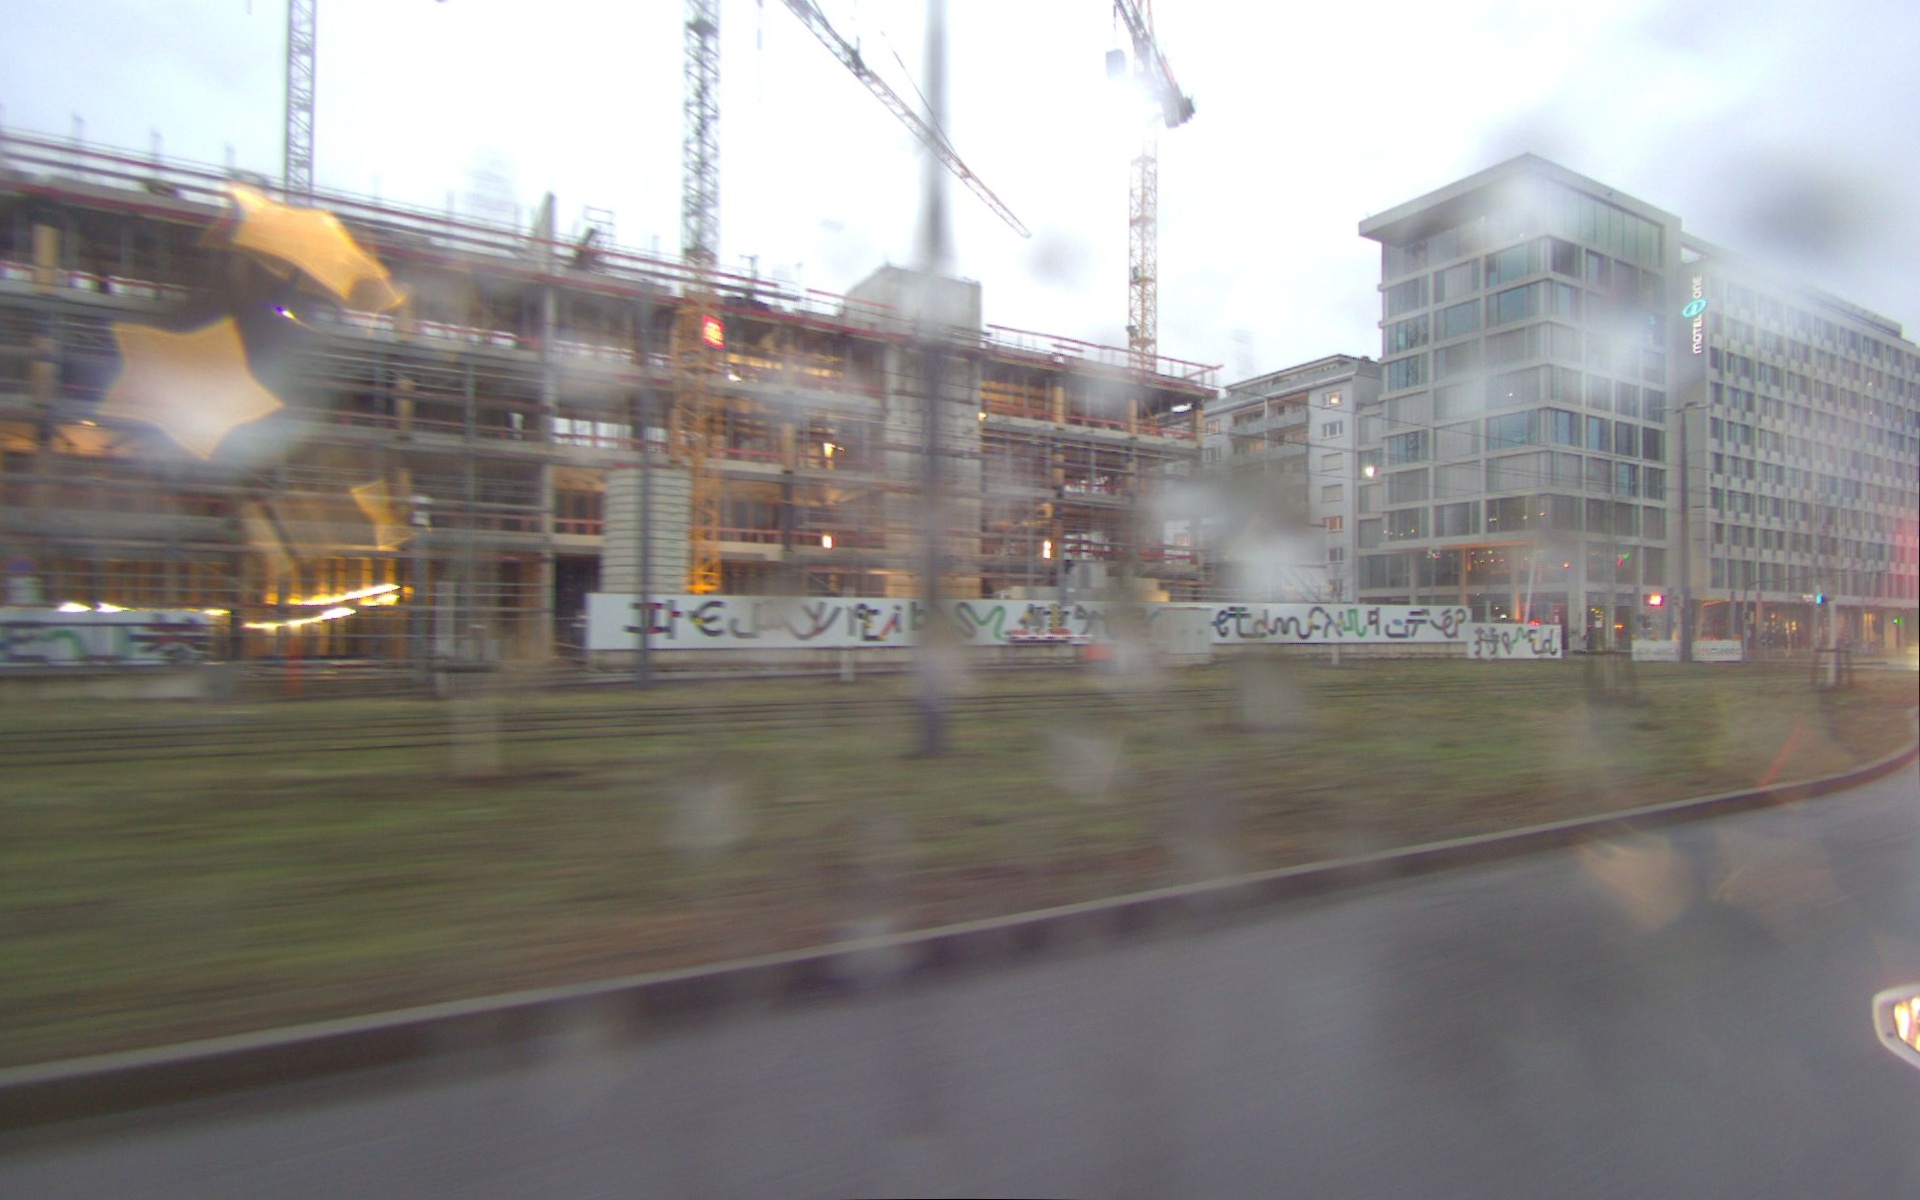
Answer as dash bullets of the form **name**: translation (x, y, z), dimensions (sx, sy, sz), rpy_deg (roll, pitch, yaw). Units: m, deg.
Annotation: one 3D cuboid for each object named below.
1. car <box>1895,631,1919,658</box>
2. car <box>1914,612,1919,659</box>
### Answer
- **car**: translation (55.544, 2.564, 57.361), dimensions (1.710, 1.512, 3.544), rpy_deg (1, 0, 17)
- **car**: translation (43.211, 1.547, 42.527), dimensions (3.941, 2.001, 1.990), rpy_deg (1, 0, 41)
